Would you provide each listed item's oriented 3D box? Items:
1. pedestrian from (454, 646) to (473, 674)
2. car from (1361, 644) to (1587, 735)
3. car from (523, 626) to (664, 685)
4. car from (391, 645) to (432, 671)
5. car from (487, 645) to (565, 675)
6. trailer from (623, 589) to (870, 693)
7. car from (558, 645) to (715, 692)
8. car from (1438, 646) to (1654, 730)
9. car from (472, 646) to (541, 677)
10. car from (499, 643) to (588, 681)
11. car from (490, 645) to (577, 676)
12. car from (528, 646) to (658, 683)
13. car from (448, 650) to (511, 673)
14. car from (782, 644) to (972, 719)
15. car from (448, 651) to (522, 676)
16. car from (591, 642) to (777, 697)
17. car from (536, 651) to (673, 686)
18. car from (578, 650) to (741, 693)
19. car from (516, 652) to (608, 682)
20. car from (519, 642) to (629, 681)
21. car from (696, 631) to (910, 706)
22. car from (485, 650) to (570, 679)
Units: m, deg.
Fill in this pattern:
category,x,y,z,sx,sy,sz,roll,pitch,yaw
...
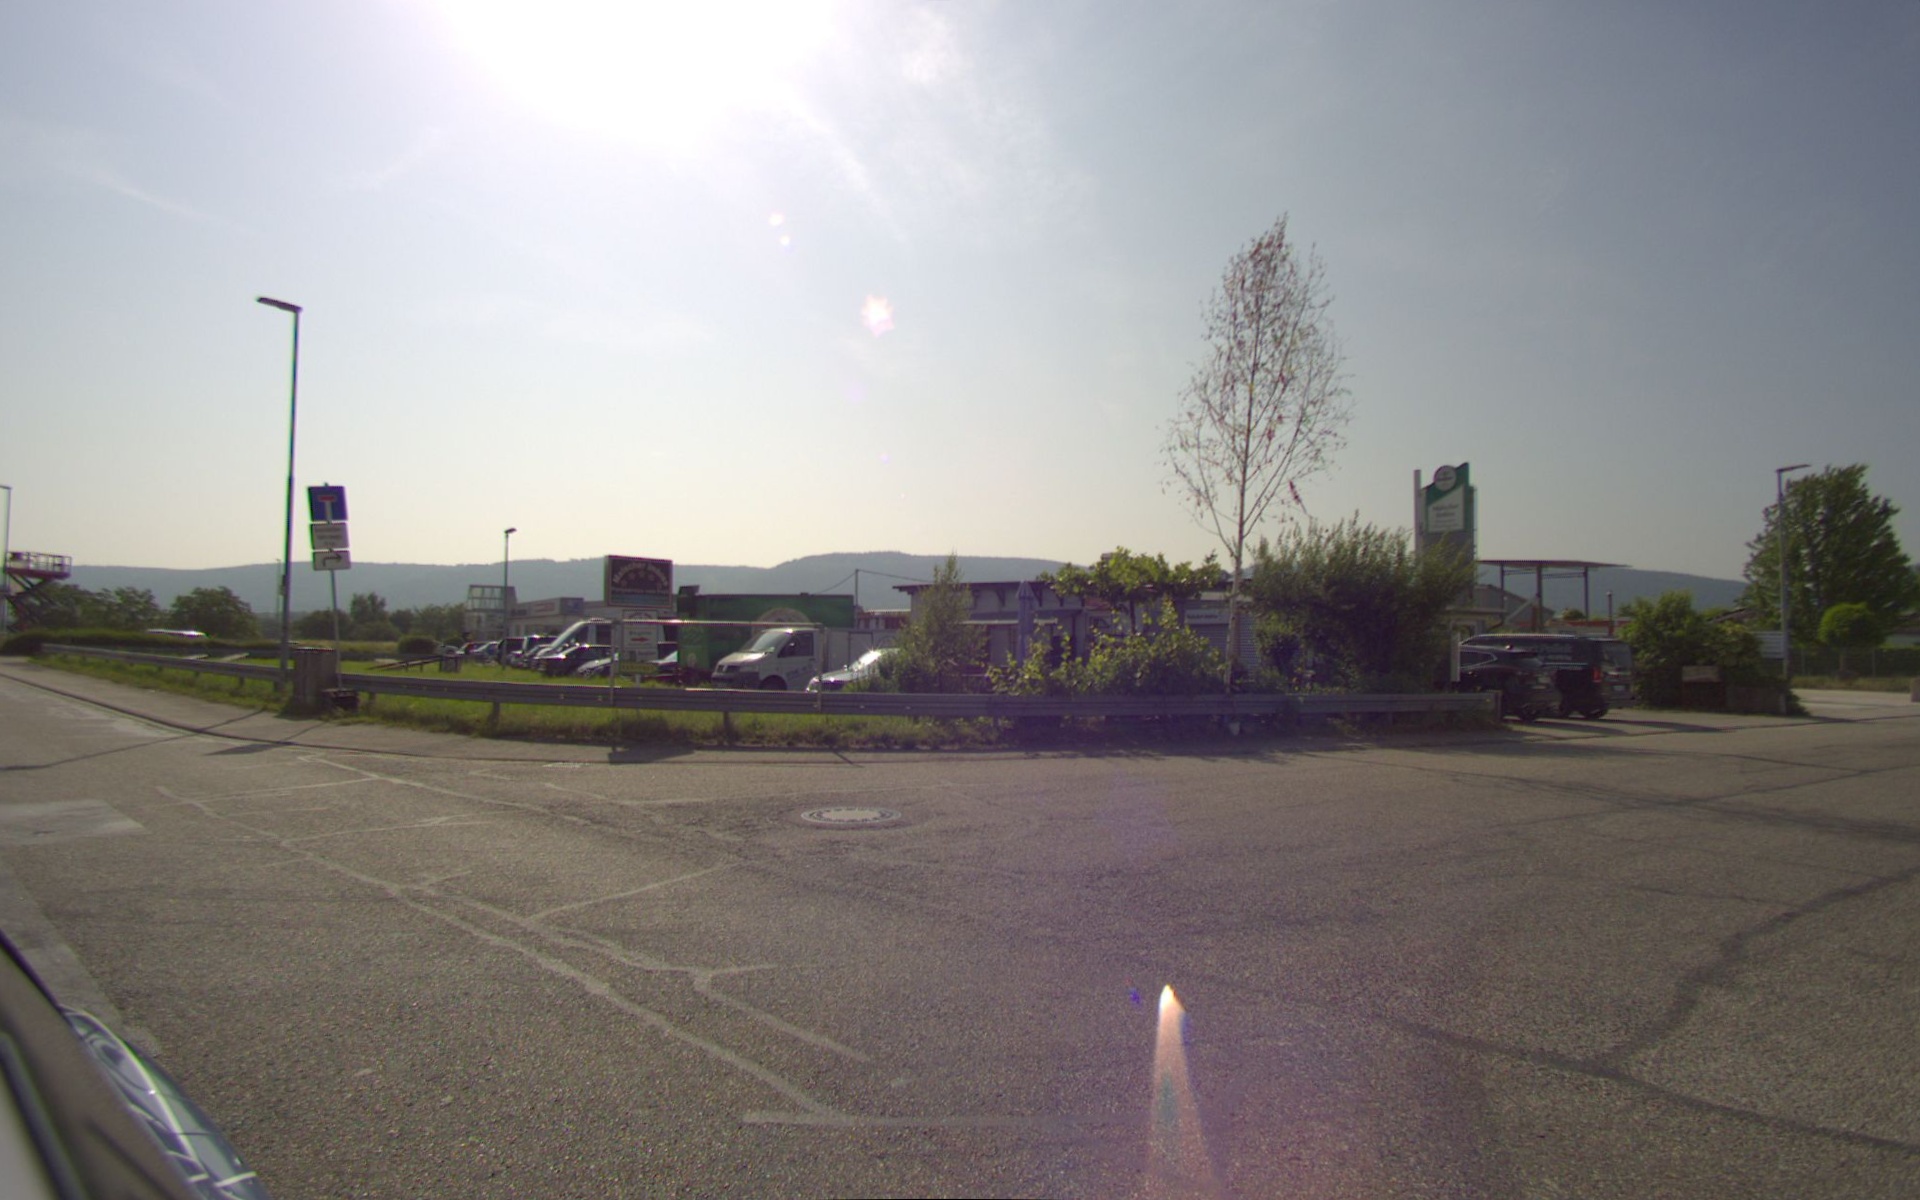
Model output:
category,x,y,z,sx,sy,sz,roll,pitch,yaw
pedestrian,-31.676,3.816,64.583,0.993,1.767,0.828,-1,-1,43
car,11.288,1.902,22.441,1.967,1.785,4.009,3,-4,-36
car,-15.852,2.457,43.838,5.314,2.391,2.300,4,-6,-30
car,-44.189,4.685,81.543,1.969,2.029,4.163,5,-5,-41
car,-24.154,3.342,56.395,3.628,1.533,1.688,4,-5,-38
trailer,-6.015,1.254,28.914,6.222,2.625,2.861,4,-5,-35
car,-11.731,2.527,36.819,5.055,1.546,2.031,4,-6,-30
car,13.844,2.017,24.109,1.967,1.785,4.009,3,-4,-36
car,-29.104,3.903,65.015,3.712,1.809,1.937,0,-1,-37
car,-20.517,3.078,49.911,3.696,1.764,1.753,4,-5,-35
car,-22.889,3.252,54.365,3.935,1.533,1.688,4,-5,-38
car,-14.961,2.660,41.345,4.684,1.364,1.927,4,-6,-30
car,-33.027,4.251,69.624,3.605,1.475,1.768,4,-5,-35
car,-1.752,1.827,23.264,1.956,1.521,4.787,-1,-4,31
car,-31.323,4.183,66.808,4.089,1.547,1.887,4,-5,-37
car,-8.382,2.156,30.854,5.055,1.546,2.184,4,-6,-30
car,-13.585,2.652,38.751,4.616,1.228,1.836,4,-6,-30
car,-10.003,2.411,33.828,4.882,1.328,1.784,4,-6,-30
car,-18.824,3.165,47.902,3.696,1.318,1.811,4,-5,-35
car,-17.476,2.821,45.877,4.328,1.676,1.812,4,-6,-30
car,-3.925,1.783,26.036,5.198,1.719,2.002,5,-5,-42
car,-22.152,3.308,51.909,3.696,1.399,1.733,4,-5,-35
